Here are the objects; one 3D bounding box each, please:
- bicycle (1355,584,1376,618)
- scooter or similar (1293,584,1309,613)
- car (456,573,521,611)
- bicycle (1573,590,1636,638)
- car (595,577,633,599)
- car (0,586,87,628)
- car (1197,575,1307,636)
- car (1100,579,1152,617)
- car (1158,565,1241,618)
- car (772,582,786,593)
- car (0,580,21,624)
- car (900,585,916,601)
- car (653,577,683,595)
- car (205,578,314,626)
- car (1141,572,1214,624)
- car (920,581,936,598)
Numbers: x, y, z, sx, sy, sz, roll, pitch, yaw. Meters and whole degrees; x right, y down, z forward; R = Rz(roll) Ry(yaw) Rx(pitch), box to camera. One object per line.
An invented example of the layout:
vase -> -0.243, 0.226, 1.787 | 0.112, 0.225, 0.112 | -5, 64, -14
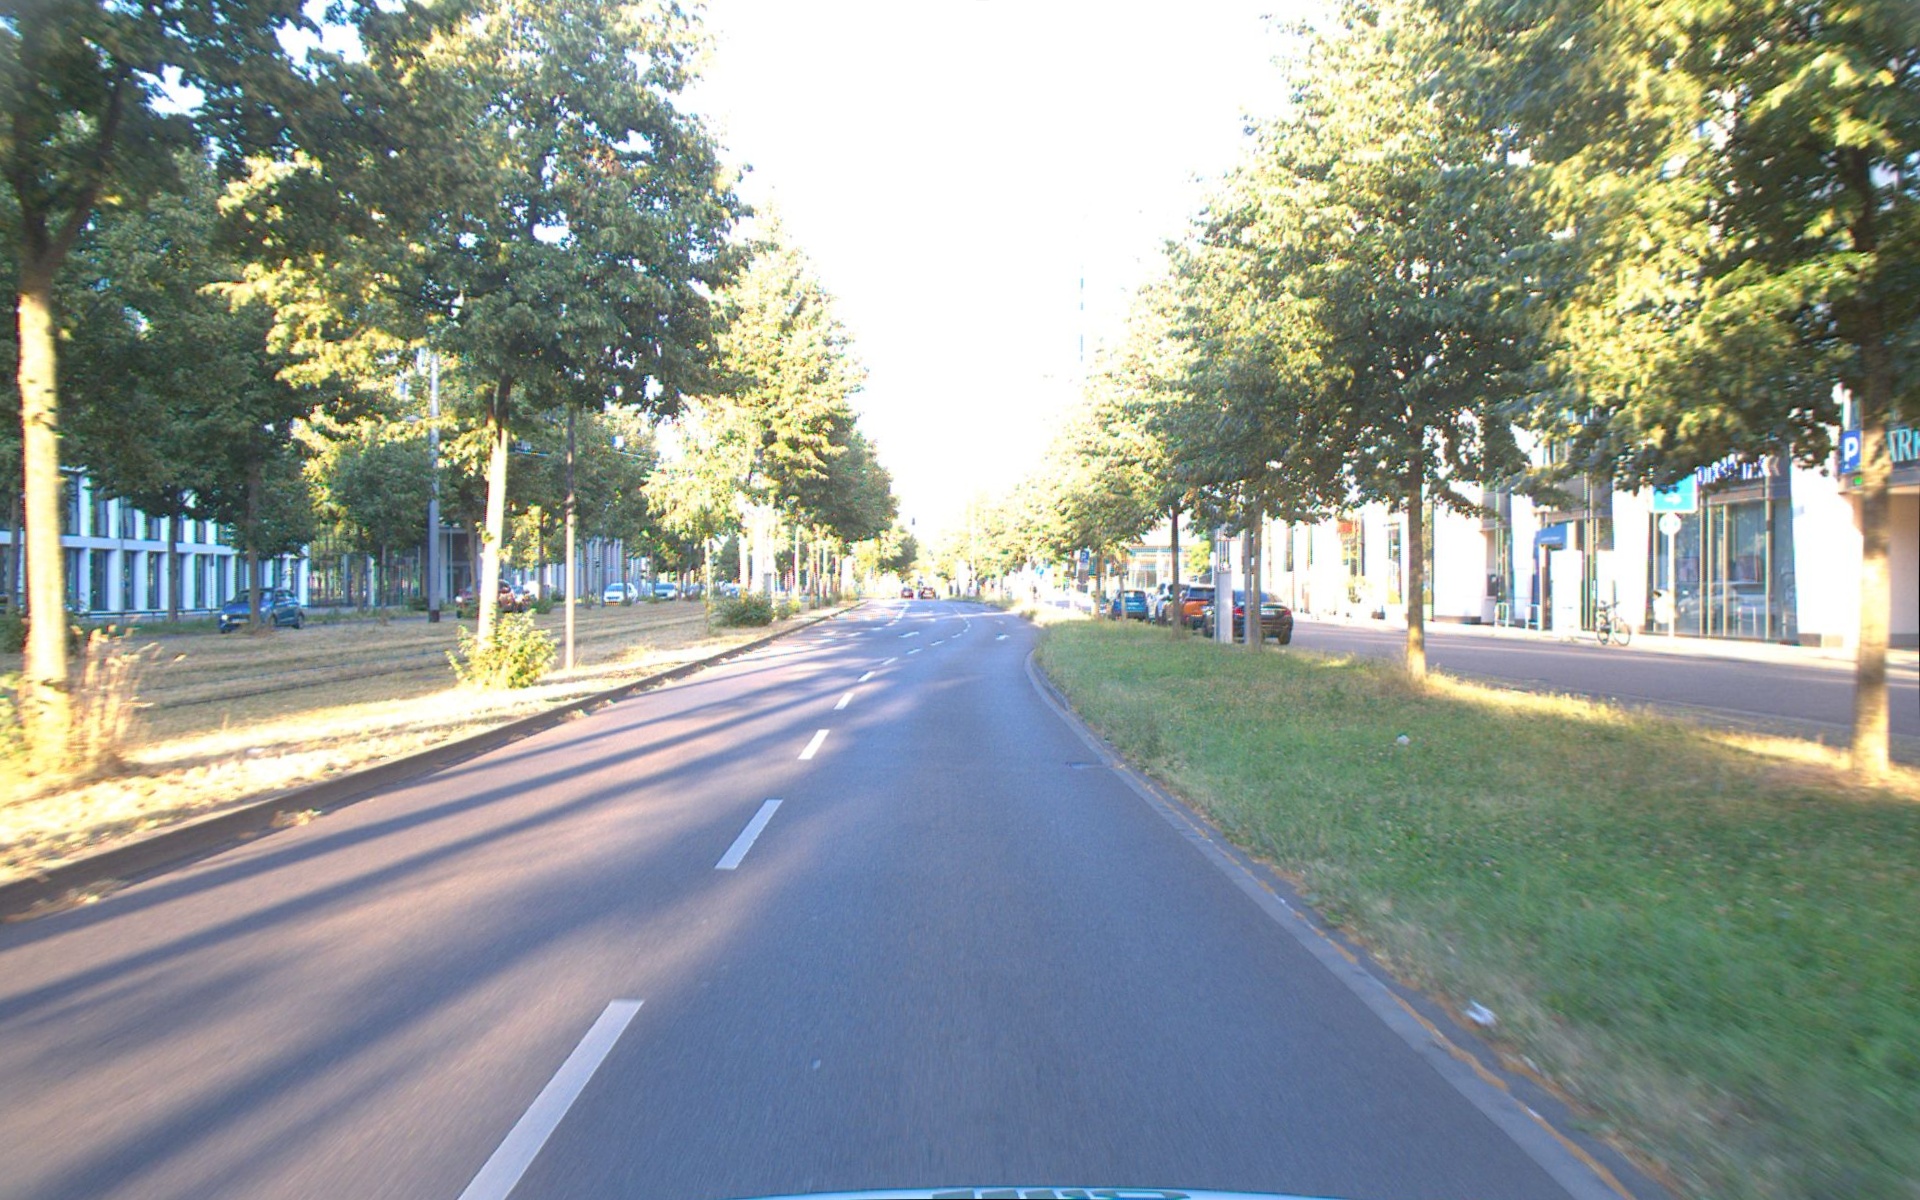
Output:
bicycle -> 14.365, 0.036, 58.609 | 0.558, 1.144, 1.835 | -2, 1, 10
scooter or similar -> 14.256, -0.065, 69.140 | 0.348, 1.207, 1.310 | -1, 1, 0
car -> -20.801, -0.359, 73.178 | 1.847, 1.605, 4.180 | 0, 1, -3
bicycle -> 14.912, 0.312, 38.315 | 0.639, 1.057, 2.055 | 0, 1, -1
car -> -21.701, -0.765, 103.770 | 1.624, 1.355, 4.528 | 0, 1, -3
car -> -36.666, 0.263, 65.885 | 1.822, 1.609, 3.784 | 0, 1, 0
car -> 7.852, 0.116, 44.990 | 1.905, 1.576, 4.809 | 0, 1, -3
car -> 7.100, -0.097, 71.125 | 1.689, 1.556, 4.267 | 1, 1, -2
car -> 7.491, -0.278, 52.129 | 1.817, 1.556, 4.481 | 1, 1, -2
car -> -25.668, -1.786, 234.121 | 1.693, 1.617, 3.513 | 0, 1, -2
car -> -36.437, 0.072, 60.778 | 1.822, 1.609, 3.665 | 0, 1, 0
car -> -6.909, -0.960, 219.351 | 2.045, 2.049, 3.999 | 0, 1, -2
car -> -21.953, -1.053, 124.487 | 1.624, 1.355, 4.739 | 0, 1, -3
car -> -23.296, 0.036, 55.174 | 1.879, 1.534, 4.286 | 0, 1, -2
car -> 7.843, -0.095, 60.009 | 1.911, 1.744, 5.158 | 1, 1, 0
car -> -3.928, -1.252, 204.363 | 1.953, 2.049, 3.999 | 0, 1, -2
